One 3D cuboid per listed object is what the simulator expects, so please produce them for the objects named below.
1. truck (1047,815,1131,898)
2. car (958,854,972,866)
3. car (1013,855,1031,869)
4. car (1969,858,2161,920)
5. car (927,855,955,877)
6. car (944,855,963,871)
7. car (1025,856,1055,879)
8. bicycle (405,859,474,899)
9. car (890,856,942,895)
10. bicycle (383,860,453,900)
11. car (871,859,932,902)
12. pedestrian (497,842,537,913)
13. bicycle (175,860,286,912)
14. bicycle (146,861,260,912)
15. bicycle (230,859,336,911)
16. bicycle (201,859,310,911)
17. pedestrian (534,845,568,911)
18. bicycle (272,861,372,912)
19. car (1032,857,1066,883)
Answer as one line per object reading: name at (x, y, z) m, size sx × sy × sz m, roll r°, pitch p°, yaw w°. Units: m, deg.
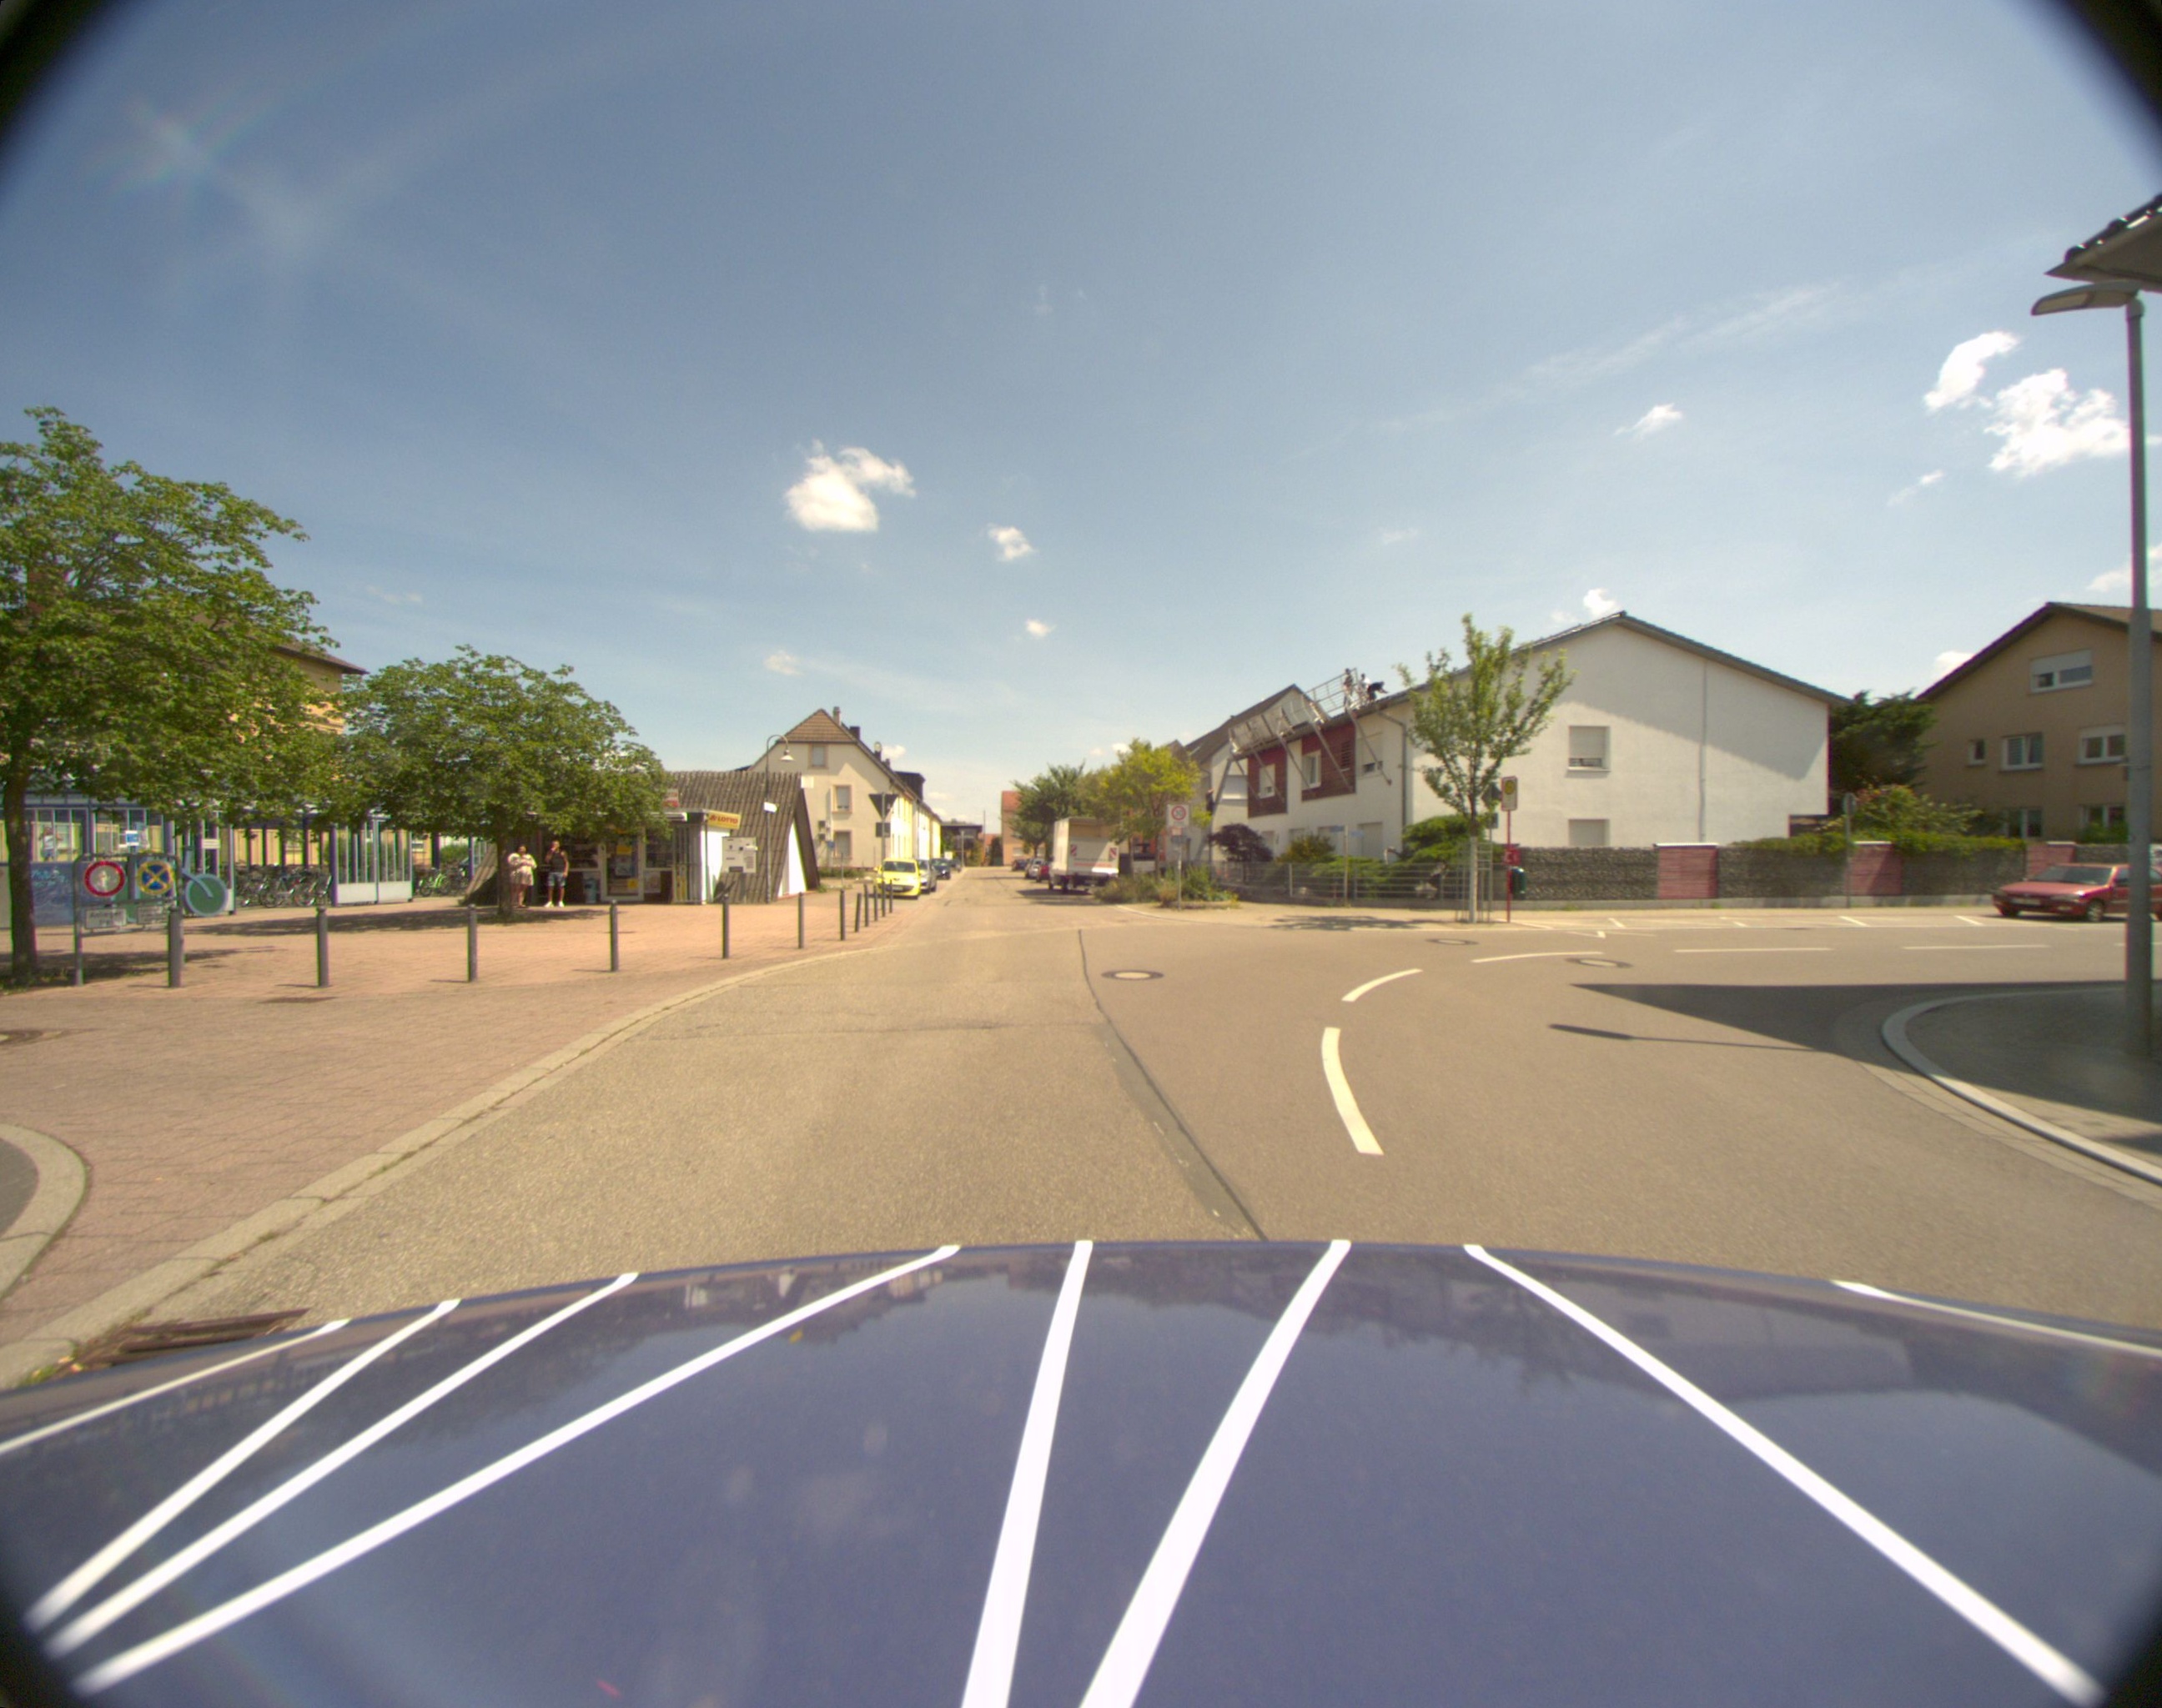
truck at (0.172, 0.102, 34.113) m, size 2.446 × 3.227 × 7.030 m, roll 3°, pitch 0°, yaw -9°
car at (-16.504, 0.851, 107.993) m, size 1.722 × 1.491 × 4.212 m, roll 3°, pitch 0°, yaw -7°
car at (-6.556, 0.886, 84.689) m, size 1.722 × 1.491 × 4.212 m, roll 2°, pitch 0°, yaw -8°
car at (24.838, 0.833, 18.939) m, size 3.677 × 1.390 × 1.720 m, roll 0°, pitch 2°, yaw -7°
car at (-10.238, 0.862, 55.711) m, size 1.722 × 1.491 × 4.212 m, roll 3°, pitch 0°, yaw -7°
car at (-13.053, 0.930, 77.917) m, size 1.722 × 1.491 × 4.212 m, roll 3°, pitch 0°, yaw -7°
car at (-2.978, 0.954, 54.590) m, size 1.722 × 1.491 × 4.212 m, roll 2°, pitch 0°, yaw -8°
bicycle at (-22.739, 0.862, 27.005) m, size 0.605 × 1.343 × 2.351 m, roll 0°, pitch 0°, yaw -5°
car at (-7.165, 0.904, 33.323) m, size 1.722 × 1.491 × 4.212 m, roll 3°, pitch 0°, yaw -7°
bicycle at (-23.491, 0.884, 26.981) m, size 0.605 × 1.343 × 2.351 m, roll 0°, pitch 0°, yaw -5°
car at (-6.704, 0.934, 28.740) m, size 1.722 × 1.390 × 4.212 m, roll 3°, pitch 0°, yaw -7°
pedestrian at (-14.445, 0.597, 19.456) m, size 0.548 × 1.778 × 0.682 m, roll 1°, pitch 1°, yaw 34°
bicycle at (-23.599, 0.847, 21.159) m, size 0.605 × 1.343 × 2.351 m, roll 0°, pitch 0°, yaw -5°
bicycle at (-24.361, 0.864, 21.159) m, size 0.605 × 1.343 × 2.351 m, roll 0°, pitch 0°, yaw -5°
bicycle at (-21.990, 0.826, 21.014) m, size 0.605 × 1.343 × 2.351 m, roll 0°, pitch 0°, yaw -5°
bicycle at (-22.766, 0.829, 21.036) m, size 0.605 × 1.343 × 2.351 m, roll 0°, pitch 0°, yaw -5°
pedestrian at (-14.004, 0.619, 20.067) m, size 0.463 × 1.710 × 0.599 m, roll 1°, pitch 1°, yaw 34°
bicycle at (-21.229, 0.871, 21.332) m, size 0.605 × 1.343 × 2.351 m, roll 0°, pitch 0°, yaw -5°
car at (-2.052, 0.958, 48.112) m, size 1.722 × 1.491 × 4.212 m, roll 2°, pitch 0°, yaw -8°
